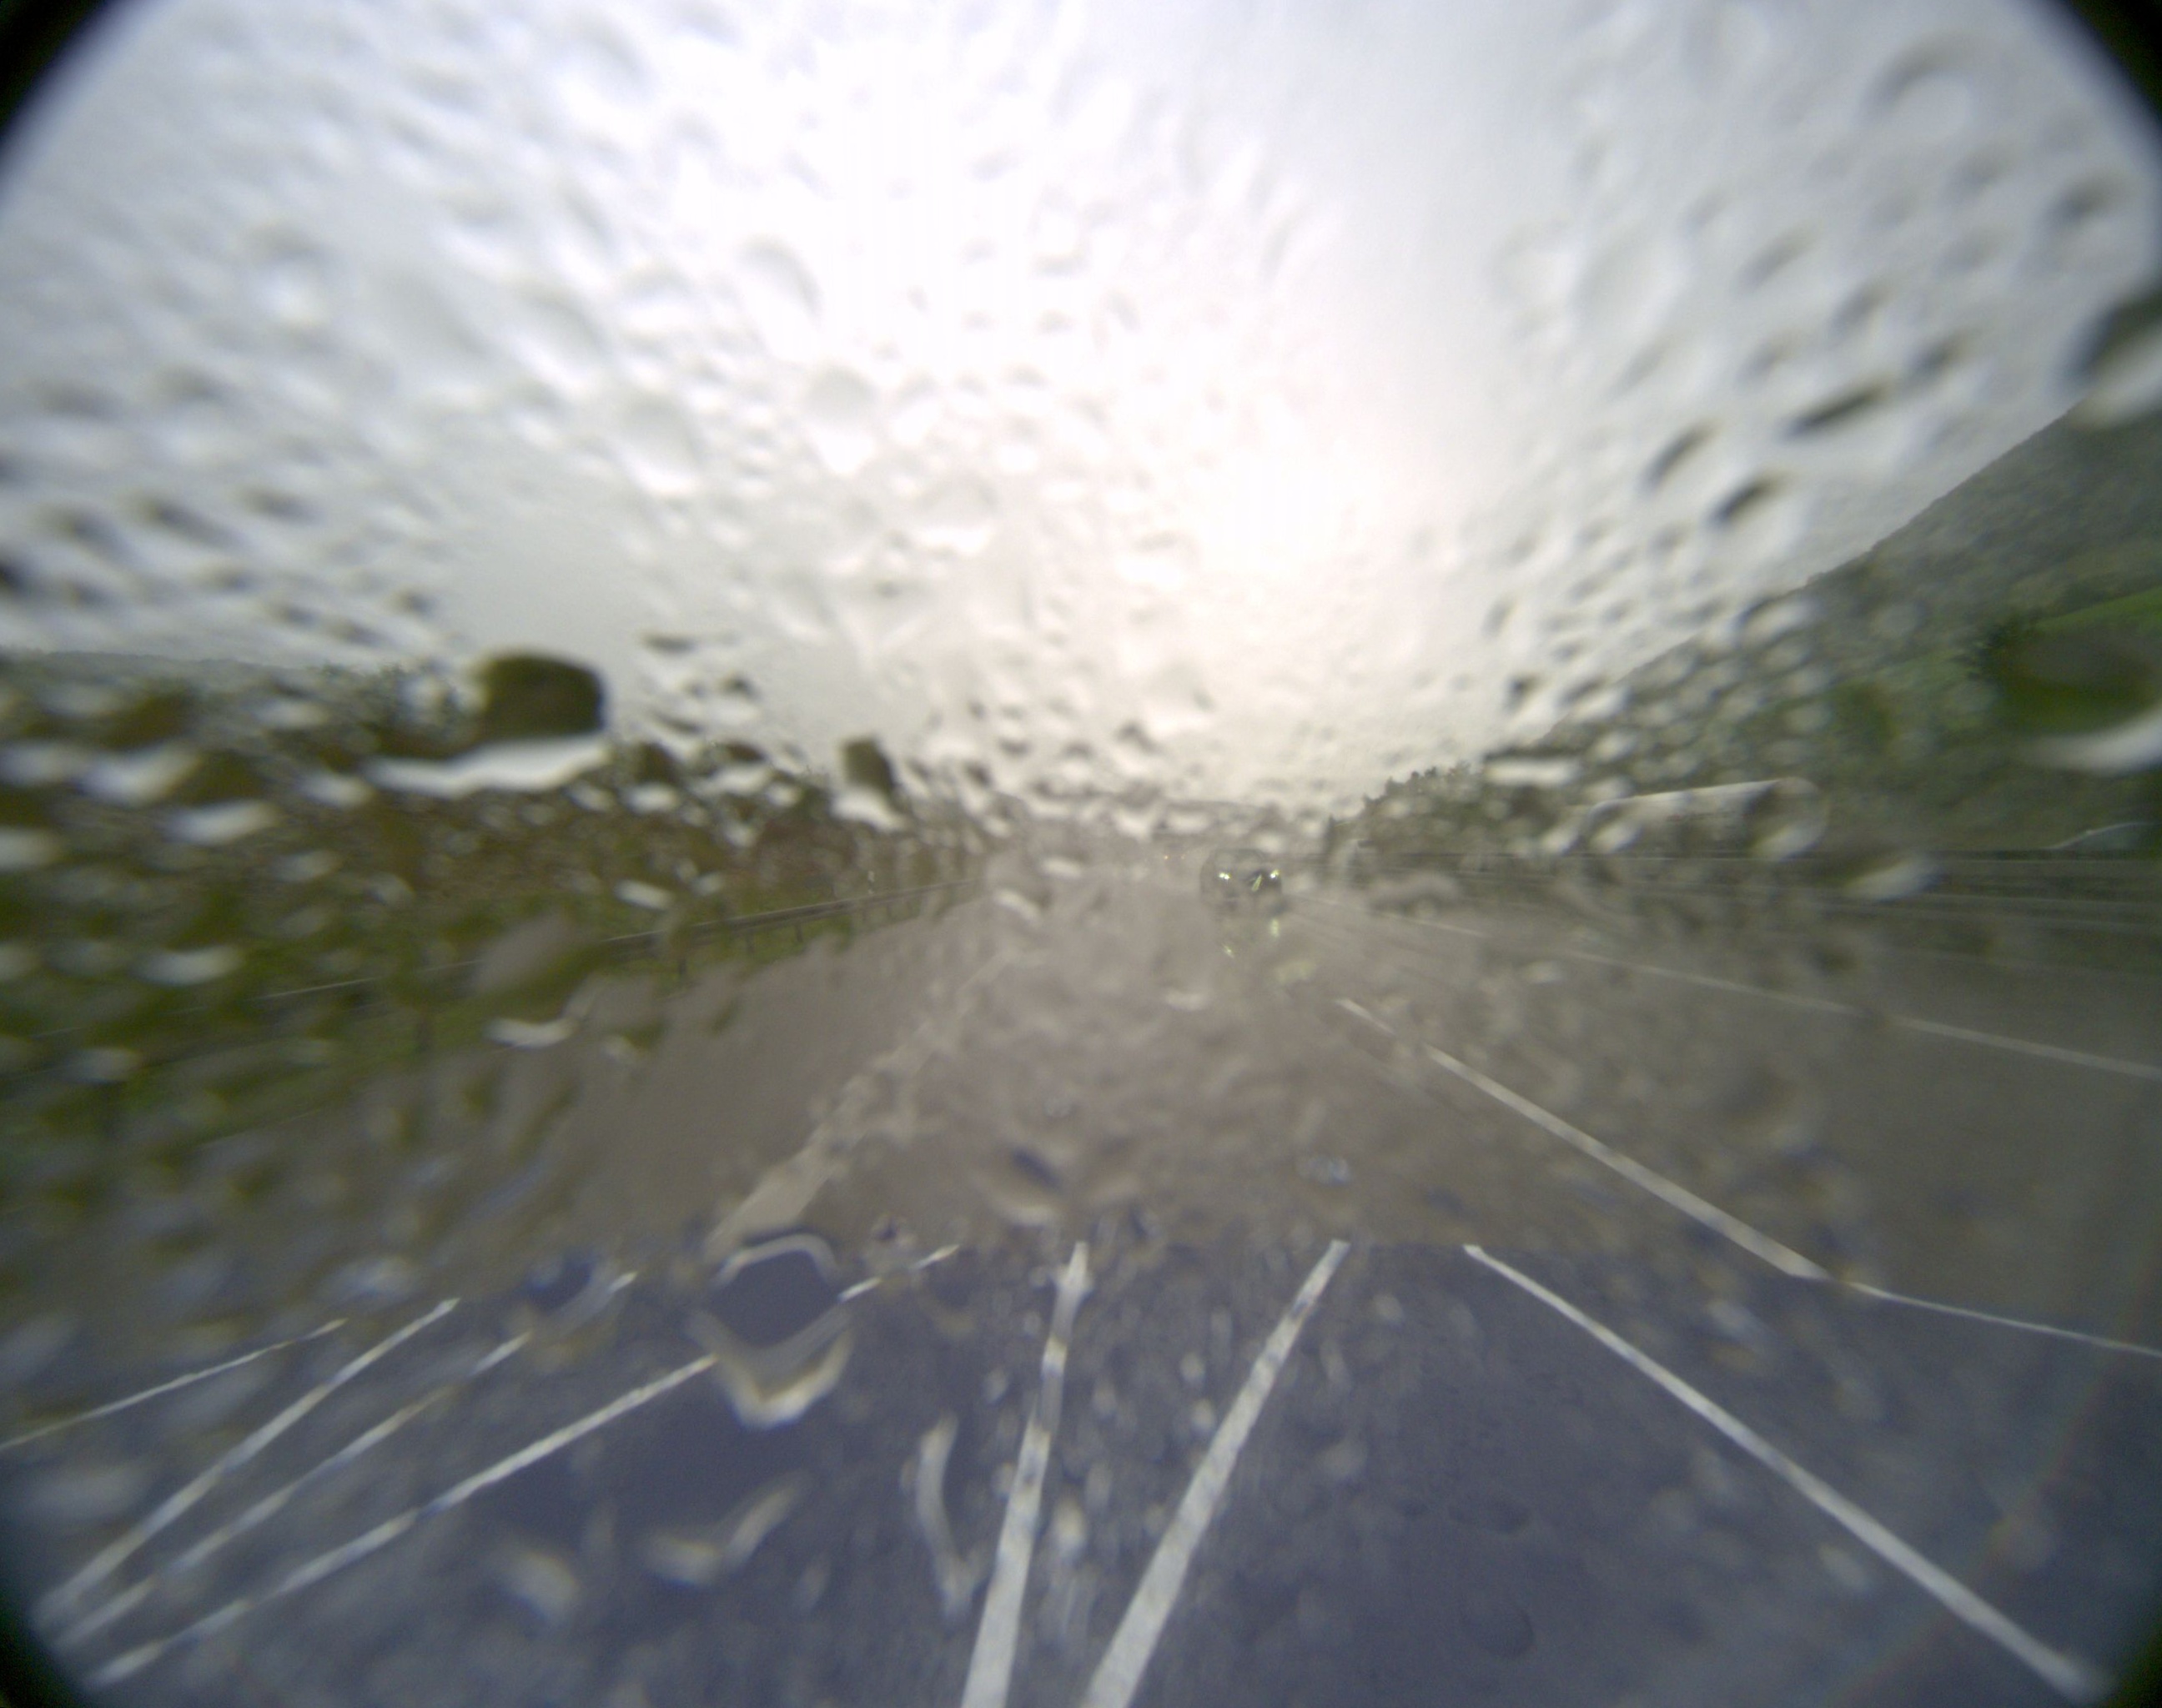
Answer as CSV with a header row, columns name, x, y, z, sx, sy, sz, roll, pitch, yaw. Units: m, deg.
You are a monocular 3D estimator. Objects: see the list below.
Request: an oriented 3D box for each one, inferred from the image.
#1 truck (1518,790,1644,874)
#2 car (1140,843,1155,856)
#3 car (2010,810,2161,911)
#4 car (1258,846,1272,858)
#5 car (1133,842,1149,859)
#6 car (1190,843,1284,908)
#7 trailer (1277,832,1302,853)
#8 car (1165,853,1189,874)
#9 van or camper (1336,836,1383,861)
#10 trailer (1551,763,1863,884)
name,x,y,z,sx,sy,sz,roll,pitch,yaw
truck,24.764,-1.034,37.983,2.890,3.780,5.316,-2,0,3
car,10.234,-0.662,116.930,1.998,2.002,4.001,-2,0,2
car,19.510,0.082,13.183,1.998,1.724,4.001,-2,0,4
car,34.515,-0.370,142.932,1.918,2.002,4.001,-2,1,5
car,7.708,-0.485,97.739,1.835,2.002,3.939,-4,1,5
car,4.645,0.569,23.153,1.815,1.692,3.747,-4,1,-4
trailer,36.866,-1.992,134.444,2.725,3.471,9.398,-2,1,6
car,9.793,0.973,77.870,1.987,2.002,3.934,-2,0,2
van or camper,22.545,-0.449,61.710,1.998,1.867,5.346,-2,0,2
trailer,24.459,-1.038,31.262,2.940,3.879,12.569,-2,0,3
